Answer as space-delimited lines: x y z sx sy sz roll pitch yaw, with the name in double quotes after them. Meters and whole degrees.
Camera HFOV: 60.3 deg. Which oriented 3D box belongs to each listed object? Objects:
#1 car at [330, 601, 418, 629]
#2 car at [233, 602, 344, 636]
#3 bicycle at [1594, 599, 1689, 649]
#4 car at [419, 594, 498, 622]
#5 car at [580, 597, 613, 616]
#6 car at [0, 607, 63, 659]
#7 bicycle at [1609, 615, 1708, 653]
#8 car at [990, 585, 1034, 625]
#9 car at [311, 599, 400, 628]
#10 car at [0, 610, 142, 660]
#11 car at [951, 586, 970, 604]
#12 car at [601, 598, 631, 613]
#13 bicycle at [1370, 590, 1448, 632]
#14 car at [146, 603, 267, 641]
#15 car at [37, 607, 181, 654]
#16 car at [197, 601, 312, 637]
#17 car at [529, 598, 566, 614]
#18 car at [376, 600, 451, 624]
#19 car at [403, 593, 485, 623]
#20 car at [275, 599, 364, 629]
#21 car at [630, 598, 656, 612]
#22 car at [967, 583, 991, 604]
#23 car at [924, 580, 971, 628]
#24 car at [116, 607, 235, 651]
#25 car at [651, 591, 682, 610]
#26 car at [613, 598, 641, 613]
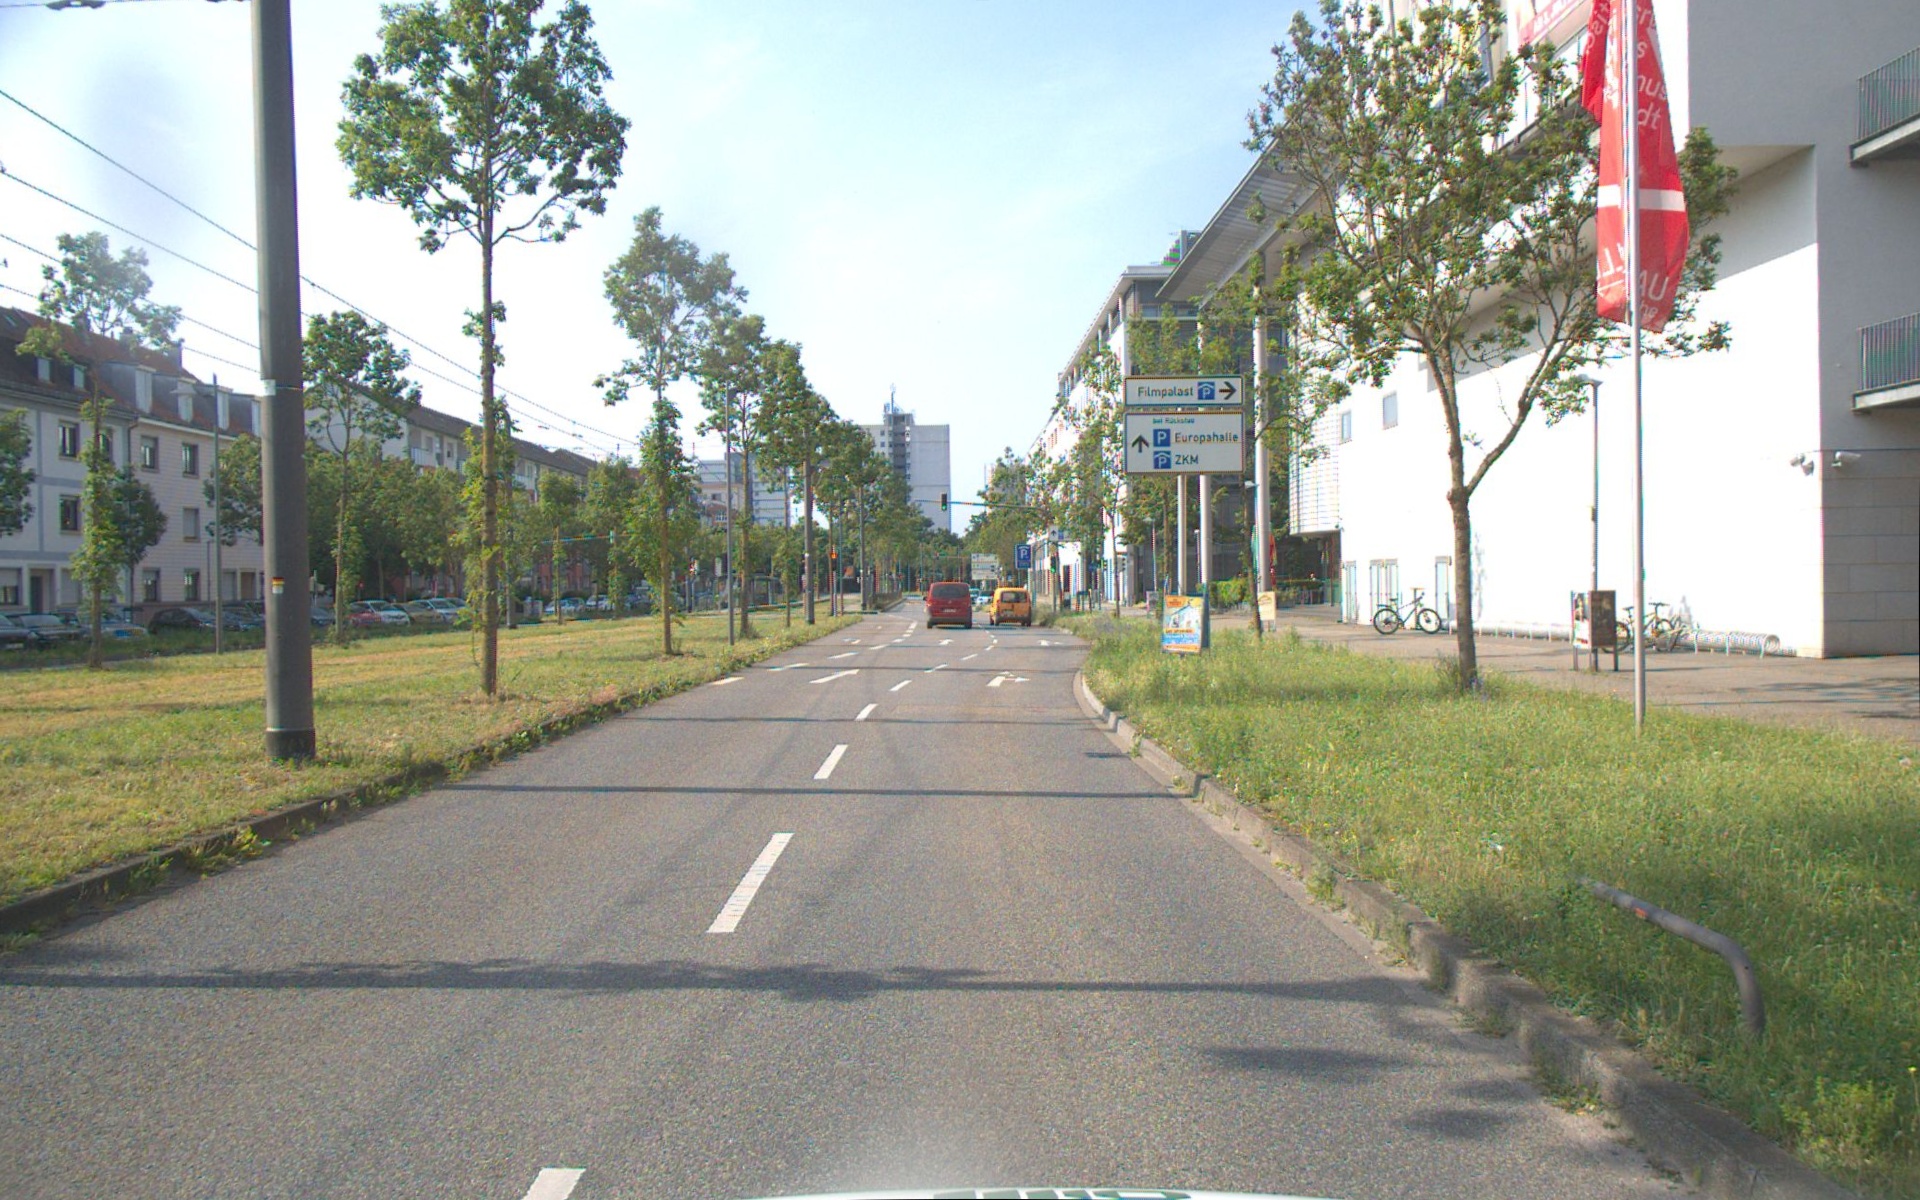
-28.132 0.698 79.384 3.912 1.292 1.883 1 0 29 "car"
-27.041 0.749 66.605 3.967 1.311 1.998 1 0 27 "car"
13.096 0.457 31.794 1.623 0.931 0.482 -1 0 -1 "bicycle"
-28.104 0.452 92.657 4.261 1.489 1.958 1 0 32 "car"
-30.927 0.510 140.737 1.941 1.583 4.535 1 0 -2 "car"
-27.930 0.950 47.566 3.909 1.400 1.834 -1 0 26 "car"
13.129 0.631 31.104 1.623 0.656 0.538 -1 0 -1 "bicycle"
2.334 0.218 75.566 1.837 1.726 3.973 -1 0 0 "car"
-27.961 0.616 76.479 3.915 1.280 1.871 1 0 32 "car"
-26.911 1.023 50.036 3.909 1.400 1.925 1 0 26 "car"
0.020 -0.495 151.553 1.655 1.552 3.850 -3 0 -1 "car"
-31.337 0.489 150.605 1.941 1.384 4.068 1 0 -2 "car"
12.553 0.313 46.272 1.966 1.122 0.676 -1 0 3 "bicycle"
-27.732 0.812 60.891 3.907 1.310 1.999 -1 0 25 "car"
-27.669 0.970 53.775 4.240 1.400 1.999 1 0 25 "car"
-27.259 0.712 63.935 3.908 1.311 1.999 1 0 25 "car"
-30.871 0.410 123.831 1.796 1.168 4.163 1 0 -2 "car"
-28.544 0.601 86.408 3.926 1.199 1.989 1 0 40 "car"
-27.780 0.447 89.028 4.375 1.541 1.993 -1 1 36 "car"
-28.091 0.609 72.529 3.916 1.256 1.695 1 0 33 "car"
-31.804 0.458 166.064 1.941 1.384 4.068 1 0 -2 "car"
1.417 -0.519 125.373 1.685 1.545 3.780 -1 1 -2 "car"
-0.552 0.151 68.778 1.837 1.886 3.998 -1 0 -2 "car"
-26.645 0.977 56.175 3.693 1.400 1.663 1 0 25 "car"
-26.901 0.030 151.557 1.953 1.736 4.712 -1 0 0 "car"
-31.514 0.477 156.789 1.941 1.384 4.068 1 0 -2 "car"
